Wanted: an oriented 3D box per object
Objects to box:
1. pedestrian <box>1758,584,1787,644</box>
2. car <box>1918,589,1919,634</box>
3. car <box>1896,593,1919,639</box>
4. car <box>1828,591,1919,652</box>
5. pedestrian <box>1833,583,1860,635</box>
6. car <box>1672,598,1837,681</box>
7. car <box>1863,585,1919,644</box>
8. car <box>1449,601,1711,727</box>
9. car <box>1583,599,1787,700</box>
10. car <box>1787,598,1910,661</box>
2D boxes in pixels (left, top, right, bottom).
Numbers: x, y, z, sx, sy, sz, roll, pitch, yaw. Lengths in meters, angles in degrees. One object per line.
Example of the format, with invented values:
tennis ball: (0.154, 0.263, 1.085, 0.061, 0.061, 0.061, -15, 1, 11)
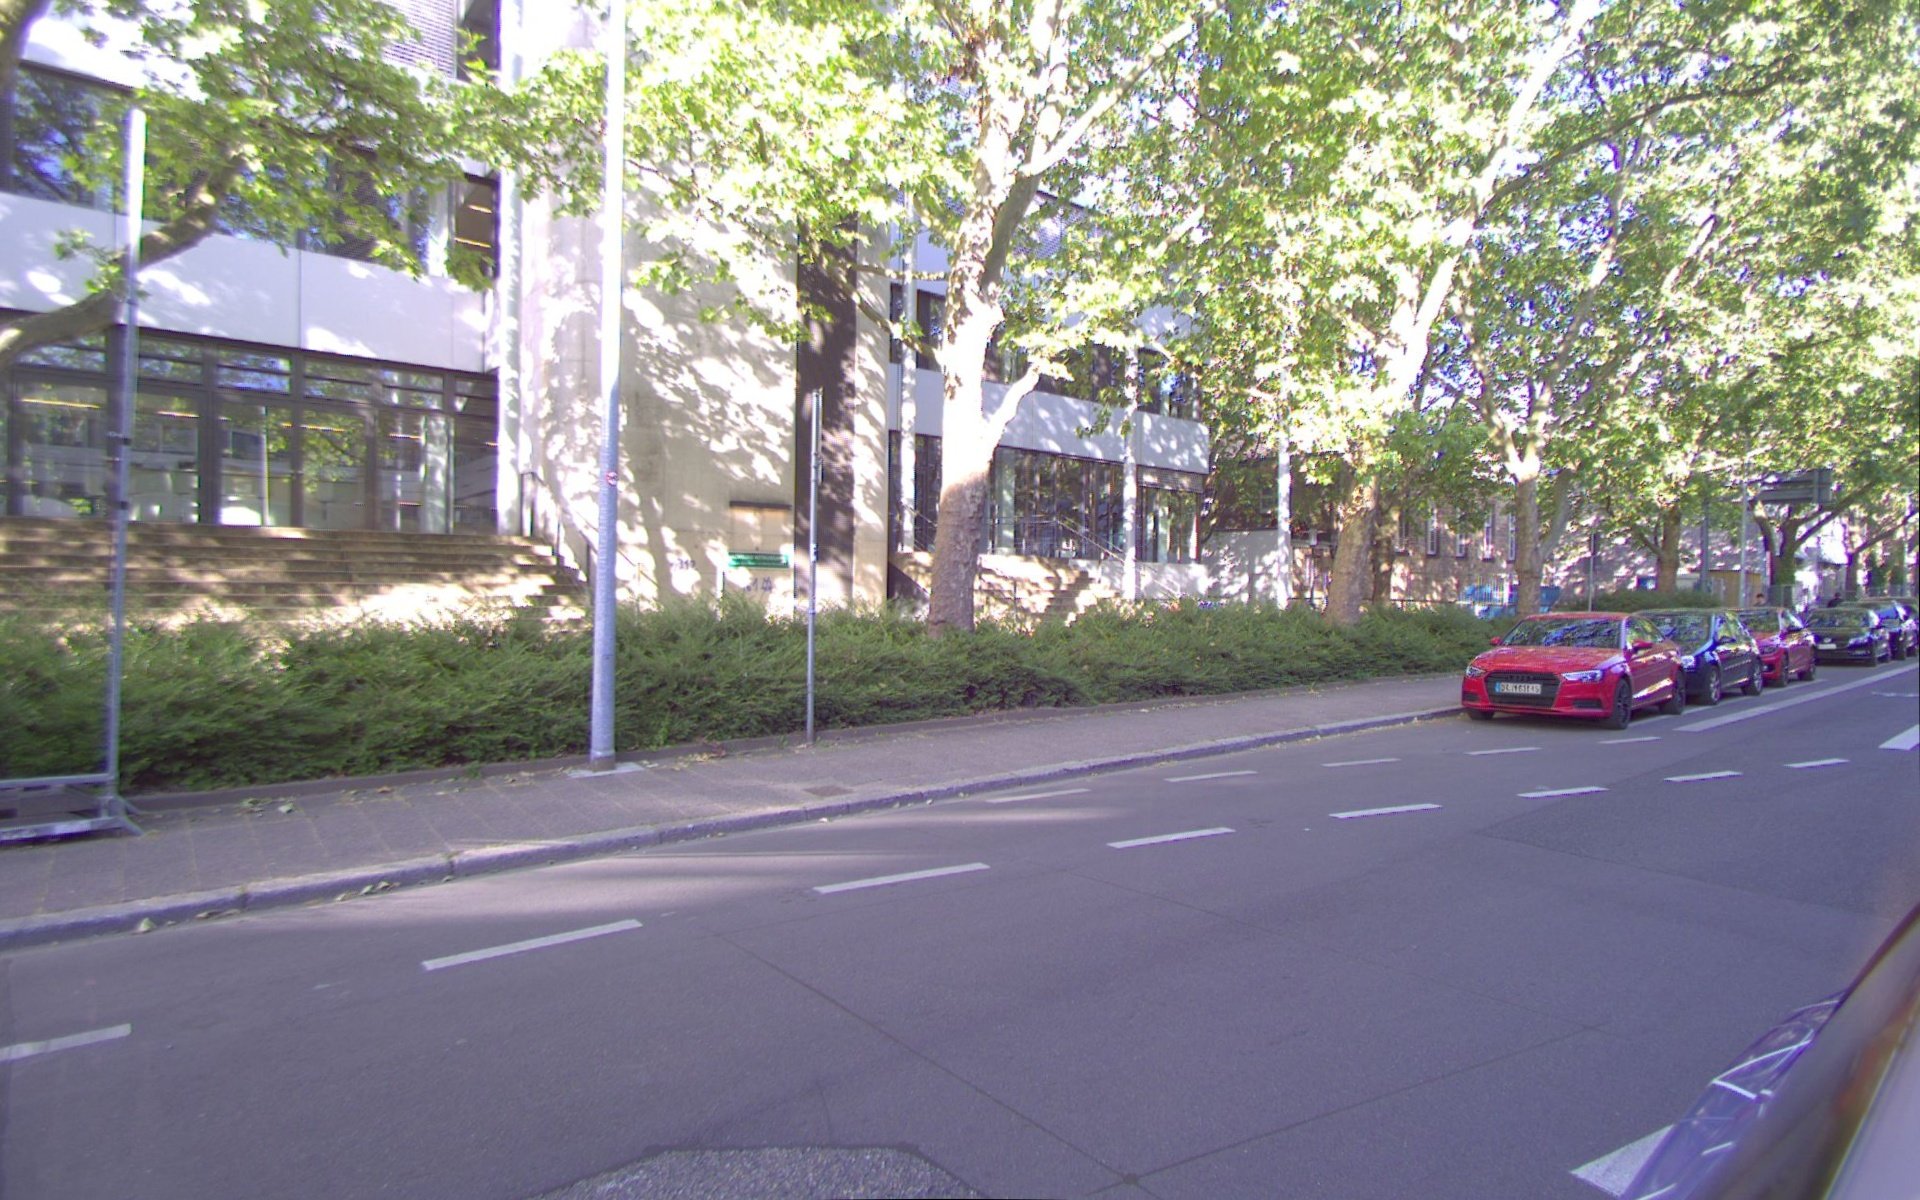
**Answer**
pedestrian: (24.641, 0.414, 30.685, 0.583, 1.818, 0.600, 0, 0, -41)
car: (39.709, 0.448, 40.293, 4.183, 1.783, 1.834, 0, 0, -40)
car: (35.916, 0.573, 37.118, 4.183, 1.634, 1.834, 0, 0, -40)
car: (26.568, 0.566, 29.102, 4.088, 1.626, 1.834, 0, 0, -40)
pedestrian: (32.853, 0.320, 37.485, 0.629, 1.884, 0.660, 0, 0, -41)
car: (15.847, 0.704, 20.116, 4.095, 1.486, 1.834, 0, 0, -41)
car: (31.053, 0.431, 32.993, 4.384, 1.820, 1.834, 0, 0, -40)
car: (8.413, 0.732, 13.584, 4.173, 1.422, 1.834, 0, 0, -41)
car: (12.032, 0.714, 16.700, 4.095, 1.464, 1.834, 0, 0, -41)
car: (22.879, 0.696, 26.008, 4.095, 1.486, 1.834, 0, 0, -41)
